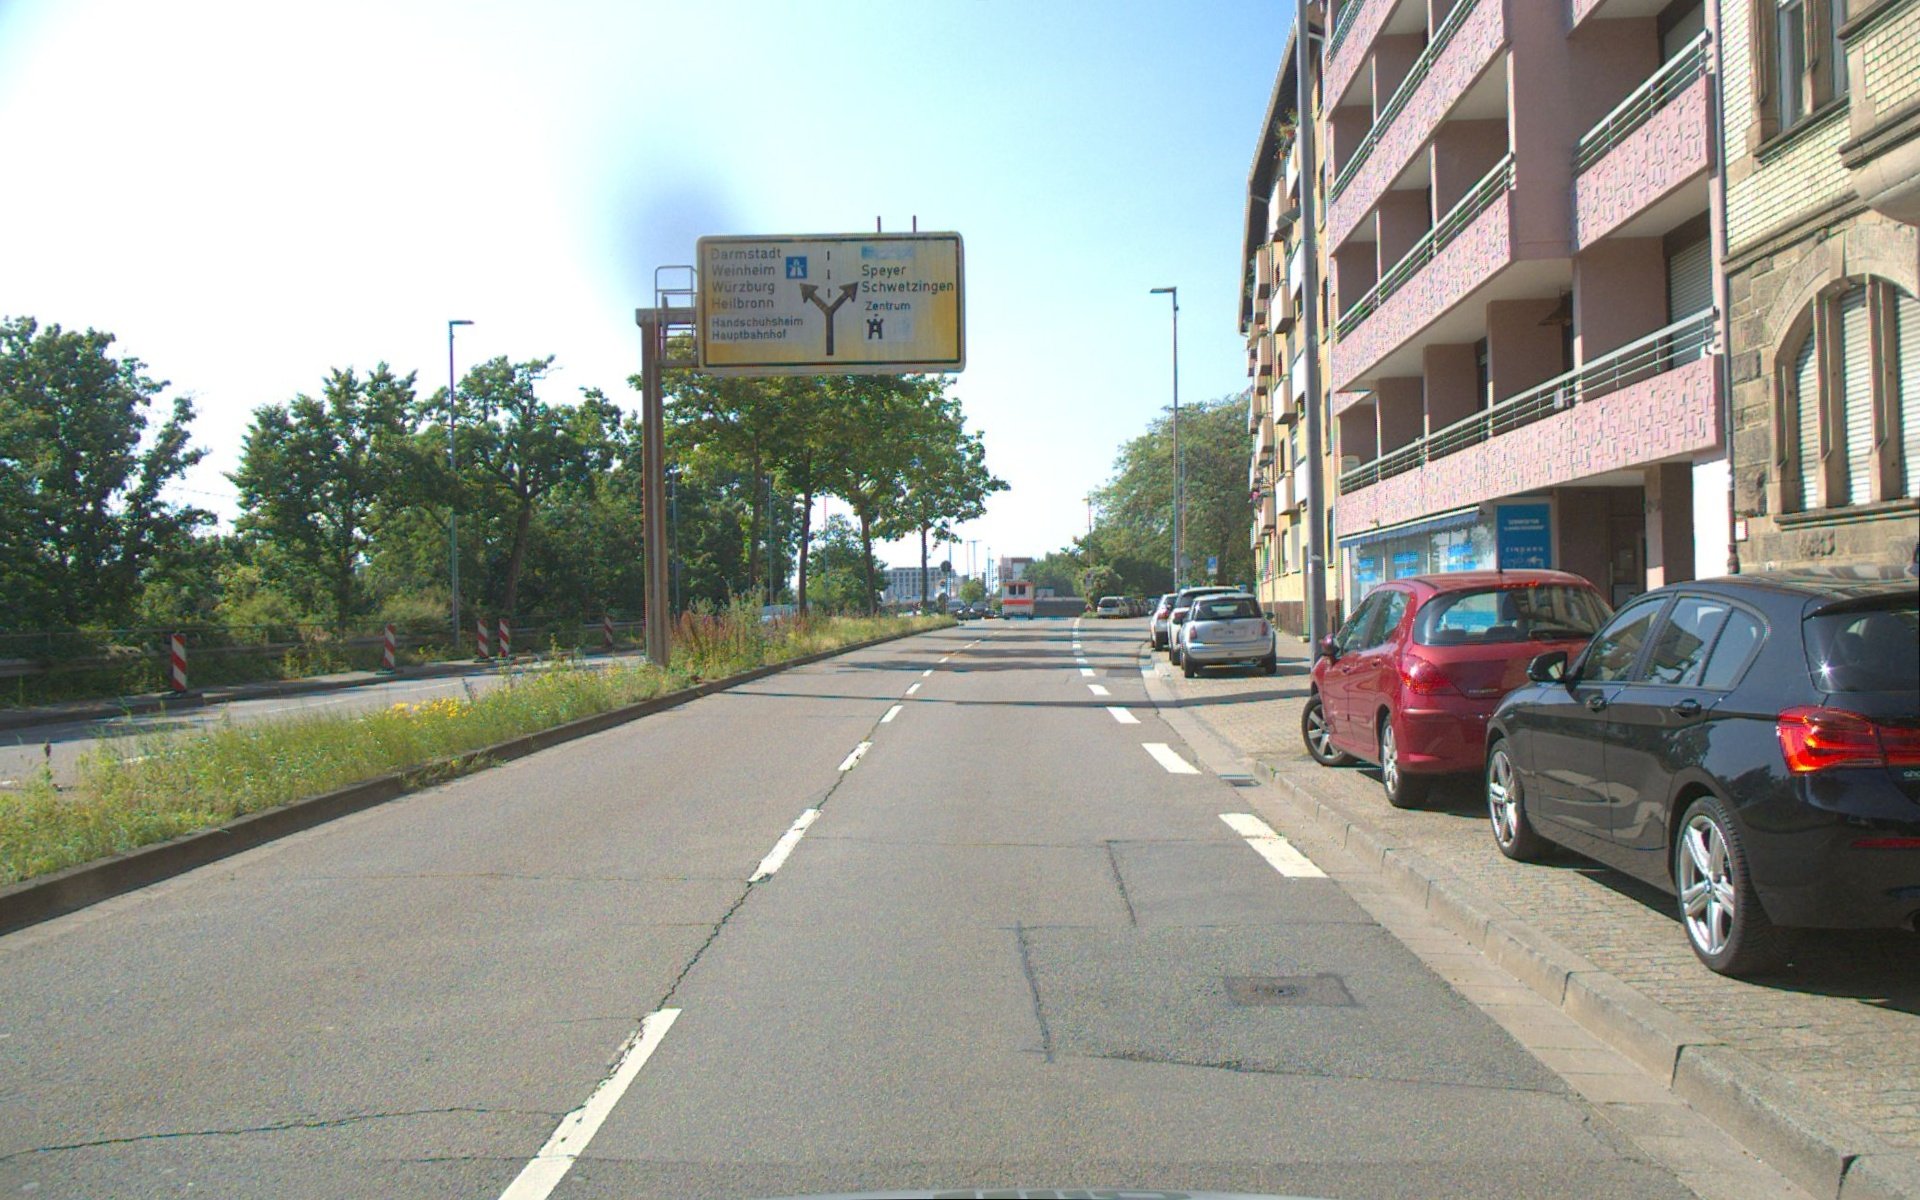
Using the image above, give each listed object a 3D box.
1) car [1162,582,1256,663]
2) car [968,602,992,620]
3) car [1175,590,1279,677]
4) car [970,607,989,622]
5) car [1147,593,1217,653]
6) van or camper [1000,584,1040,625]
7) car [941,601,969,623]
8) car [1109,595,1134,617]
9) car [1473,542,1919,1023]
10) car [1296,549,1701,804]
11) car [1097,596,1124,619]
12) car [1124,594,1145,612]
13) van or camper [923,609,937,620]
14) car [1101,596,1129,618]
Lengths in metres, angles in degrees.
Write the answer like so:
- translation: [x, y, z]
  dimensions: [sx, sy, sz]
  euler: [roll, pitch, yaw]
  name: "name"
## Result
- translation: [5.224, 0.451, 35.165]
  dimensions: [1.699, 1.568, 4.356]
  euler: [-2, 0, 5]
  name: "car"
- translation: [1.748, 0.917, 143.895]
  dimensions: [1.726, 1.500, 4.087]
  euler: [-2, 0, 6]
  name: "car"
- translation: [4.844, 0.570, 30.379]
  dimensions: [1.643, 1.433, 3.433]
  euler: [-3, 0, 6]
  name: "car"
- translation: [2.301, 1.662, 193.019]
  dimensions: [1.951, 1.764, 4.732]
  euler: [-1, 0, 4]
  name: "car"
- translation: [6.004, 0.604, 45.040]
  dimensions: [1.719, 1.532, 4.130]
  euler: [0, 0, 5]
  name: "car"
- translation: [4.253, 0.320, 116.078]
  dimensions: [2.247, 2.838, 5.575]
  euler: [0, 0, 8]
  name: "van or camper"
- translation: [-0.323, 0.850, 120.428]
  dimensions: [1.760, 1.557, 4.002]
  euler: [-1, 0, 3]
  name: "car"
- translation: [12.340, 0.478, 126.366]
  dimensions: [1.734, 1.607, 4.189]
  euler: [-2, 0, 7]
  name: "car"
- translation: [3.597, 0.552, 7.151]
  dimensions: [1.608, 1.478, 4.128]
  euler: [-1, 0, 2]
  name: "car"
- translation: [3.732, 0.482, 12.233]
  dimensions: [1.748, 1.508, 4.001]
  euler: [-2, 0, 2]
  name: "car"
- translation: [10.584, 0.537, 116.433]
  dimensions: [1.585, 1.531, 3.464]
  euler: [-2, 0, 10]
  name: "car"
- translation: [15.577, 0.288, 147.651]
  dimensions: [1.628, 1.538, 3.792]
  euler: [1, 0, 10]
  name: "car"
- translation: [-3.737, 1.783, 208.242]
  dimensions: [1.436, 1.373, 4.632]
  euler: [-1, 0, 3]
  name: "van or camper"
- translation: [11.340, 0.529, 120.945]
  dimensions: [1.684, 1.531, 4.136]
  euler: [-2, 0, 10]
  name: "car"
